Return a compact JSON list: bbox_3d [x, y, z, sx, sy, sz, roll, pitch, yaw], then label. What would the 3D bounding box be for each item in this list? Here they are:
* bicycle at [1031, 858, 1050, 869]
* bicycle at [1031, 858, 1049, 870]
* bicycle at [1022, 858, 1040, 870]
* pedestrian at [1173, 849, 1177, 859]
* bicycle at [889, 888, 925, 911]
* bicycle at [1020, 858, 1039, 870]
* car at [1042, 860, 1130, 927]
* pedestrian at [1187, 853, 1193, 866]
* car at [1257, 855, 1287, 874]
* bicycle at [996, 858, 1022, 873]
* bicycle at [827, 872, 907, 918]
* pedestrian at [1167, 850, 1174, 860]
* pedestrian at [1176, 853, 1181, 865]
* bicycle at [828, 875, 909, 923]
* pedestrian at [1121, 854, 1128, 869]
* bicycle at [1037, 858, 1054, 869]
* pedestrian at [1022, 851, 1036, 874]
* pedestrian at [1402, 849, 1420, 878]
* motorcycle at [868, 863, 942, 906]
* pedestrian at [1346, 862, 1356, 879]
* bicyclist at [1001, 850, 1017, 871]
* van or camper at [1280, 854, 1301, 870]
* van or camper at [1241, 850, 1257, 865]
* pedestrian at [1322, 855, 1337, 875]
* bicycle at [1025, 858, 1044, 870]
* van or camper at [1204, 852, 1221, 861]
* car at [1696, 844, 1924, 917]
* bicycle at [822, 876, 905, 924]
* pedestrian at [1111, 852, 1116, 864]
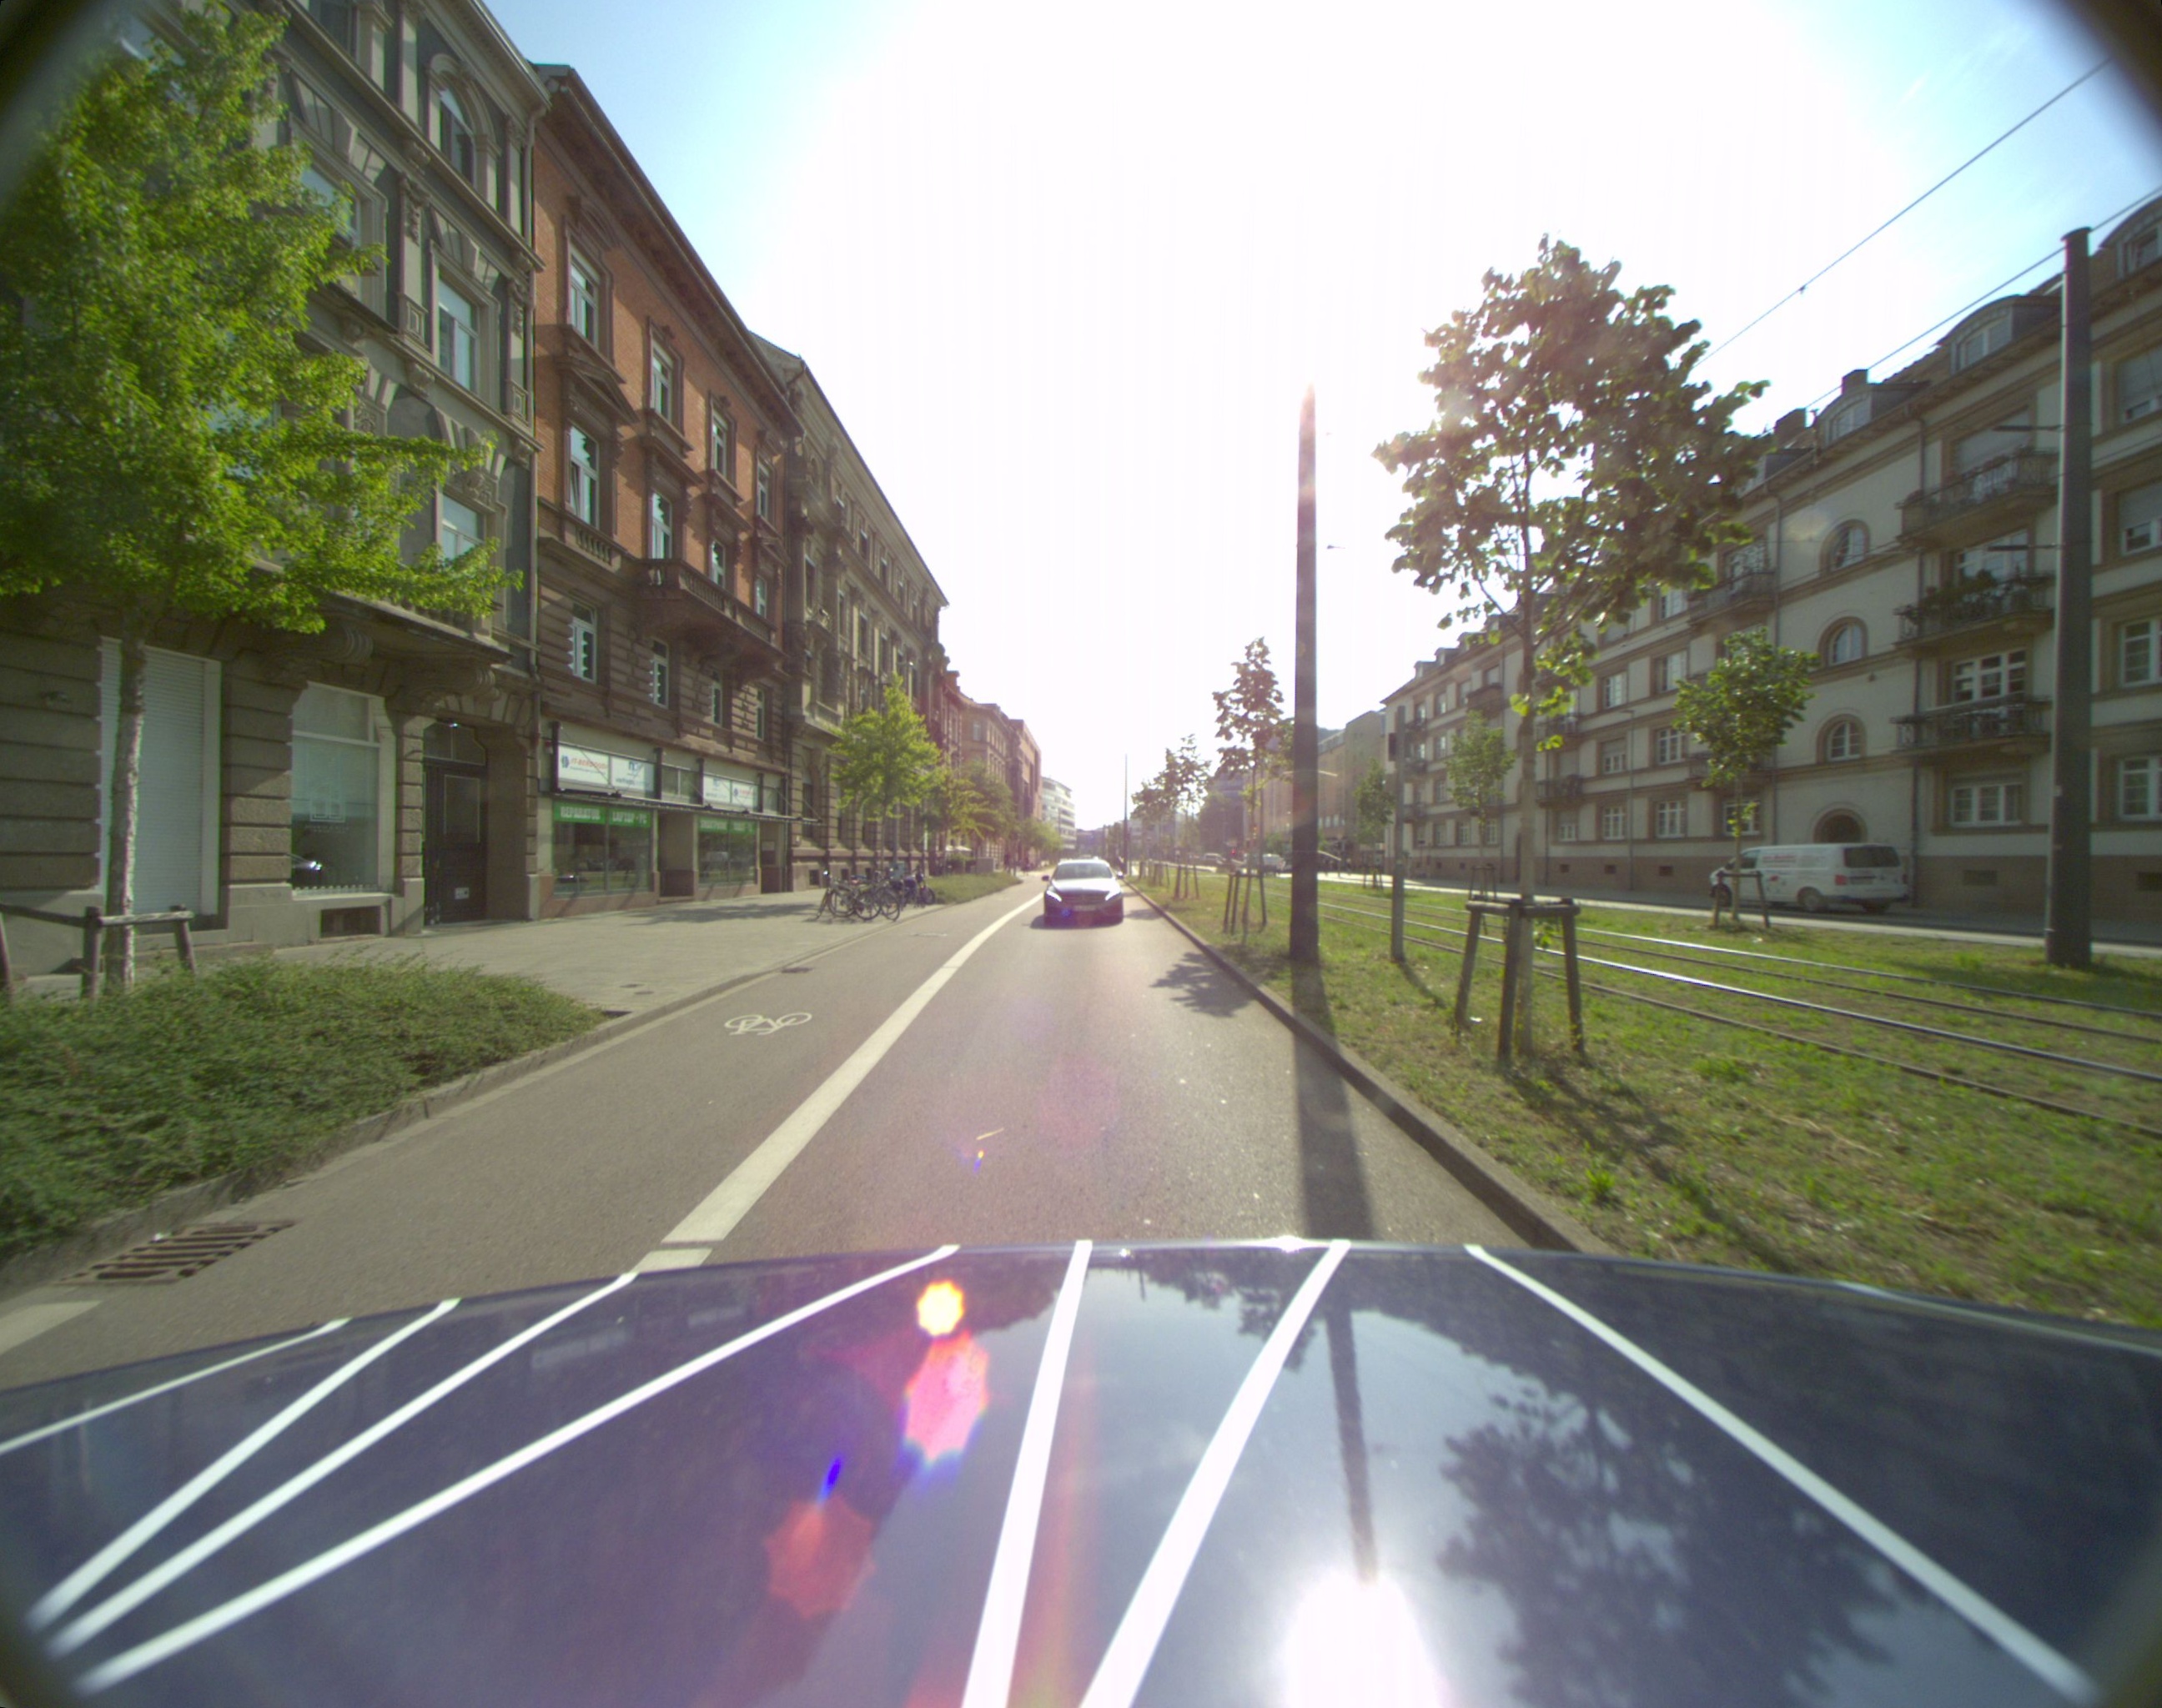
[{"bbox_3d":[-4.274,0.992,80.111,1.763,1.081,0.671,3,1,-21],"label":"bicycle"},{"bbox_3d":[-4.395,1.069,81.295,1.761,1.081,0.657,3,1,-8],"label":"bicycle"},{"bbox_3d":[-5.102,1.010,77.370,1.756,1.081,0.583,2,0,4],"label":"bicycle"},{"bbox_3d":[17.032,0.052,137.445,0.652,1.750,0.698,-2,1,2],"label":"pedestrian"},{"bbox_3d":[-5.063,1.318,22.133,0.960,0.606,0.360,2,1,3],"label":"bicycle"},{"bbox_3d":[-5.196,1.020,76.771,1.756,1.081,0.583,2,0,4],"label":"bicycle"},{"bbox_3d":[0.144,0.875,18.723,1.907,1.384,4.236,-1,1,1],"label":"car"},{"bbox_3d":[15.143,0.727,105.765,0.741,1.861,0.939,0,1,2],"label":"pedestrian"},{"bbox_3d":[19.142,1.032,76.482,1.998,1.884,5.047,0,0,3],"label":"car"},{"bbox_3d":[-5.162,0.834,54.566,1.781,0.948,0.507,3,1,17],"label":"bicycle"},{"bbox_3d":[-5.397,1.033,19.224,1.812,1.089,0.671,2,0,-4],"label":"bicycle"},{"bbox_3d":[15.440,0.210,131.780,0.787,1.736,0.833,1,1,-35],"label":"pedestrian"},{"bbox_3d":[15.643,0.747,121.721,0.806,1.875,0.555,0,1,4],"label":"pedestrian"},{"bbox_3d":[-5.034,1.064,18.057,1.789,1.048,0.373,2,1,0],"label":"bicycle"},{"bbox_3d":[5.756,0.997,100.624,0.835,2.002,1.028,-2,1,-2],"label":"pedestrian"},{"bbox_3d":[-3.898,1.047,82.851,1.761,1.081,0.610,3,1,-8],"label":"bicycle"},{"bbox_3d":[-4.080,0.681,59.474,0.992,1.795,0.865,1,-1,3],"label":"pedestrian"},{"bbox_3d":[24.242,0.680,55.898,0.844,2.056,1.157,-1,1,2],"label":"pedestrian"},{"bbox_3d":[-5.414,0.938,23.427,2.046,1.279,0.703,2,0,-34],"label":"motorcycle"},{"bbox_3d":[25.388,1.532,71.423,0.678,1.574,0.809,1,1,35],"label":"pedestrian"},{"bbox_3d":[-5.168,0.470,54.537,0.929,1.474,0.586,3,1,17],"label":"bicyclist"},{"bbox_3d":[27.439,1.018,99.478,1.934,1.956,4.002,0,0,6],"label":"van or camper"},{"bbox_3d":[33.001,0.678,149.235,1.998,2.786,5.353,1,0,2],"label":"van or camper"},{"bbox_3d":[24.254,1.063,74.138,1.073,1.857,0.862,0,1,-26],"label":"pedestrian"},{"bbox_3d":[-4.818,1.009,78.619,1.758,1.081,0.669,3,1,7],"label":"bicycle"},{"bbox_3d":[32.275,0.507,186.844,3.979,2.198,1.937,0,0,12],"label":"van or camper"},{"bbox_3d":[21.473,0.709,22.783,1.998,1.907,5.153,-2,0,2],"label":"car"},{"bbox_3d":[-5.047,1.068,17.657,1.789,1.048,0.373,2,1,0],"label":"bicycle"},{"bbox_3d":[5.041,0.654,119.162,0.675,1.747,0.727,-2,1,0],"label":"pedestrian"}]
